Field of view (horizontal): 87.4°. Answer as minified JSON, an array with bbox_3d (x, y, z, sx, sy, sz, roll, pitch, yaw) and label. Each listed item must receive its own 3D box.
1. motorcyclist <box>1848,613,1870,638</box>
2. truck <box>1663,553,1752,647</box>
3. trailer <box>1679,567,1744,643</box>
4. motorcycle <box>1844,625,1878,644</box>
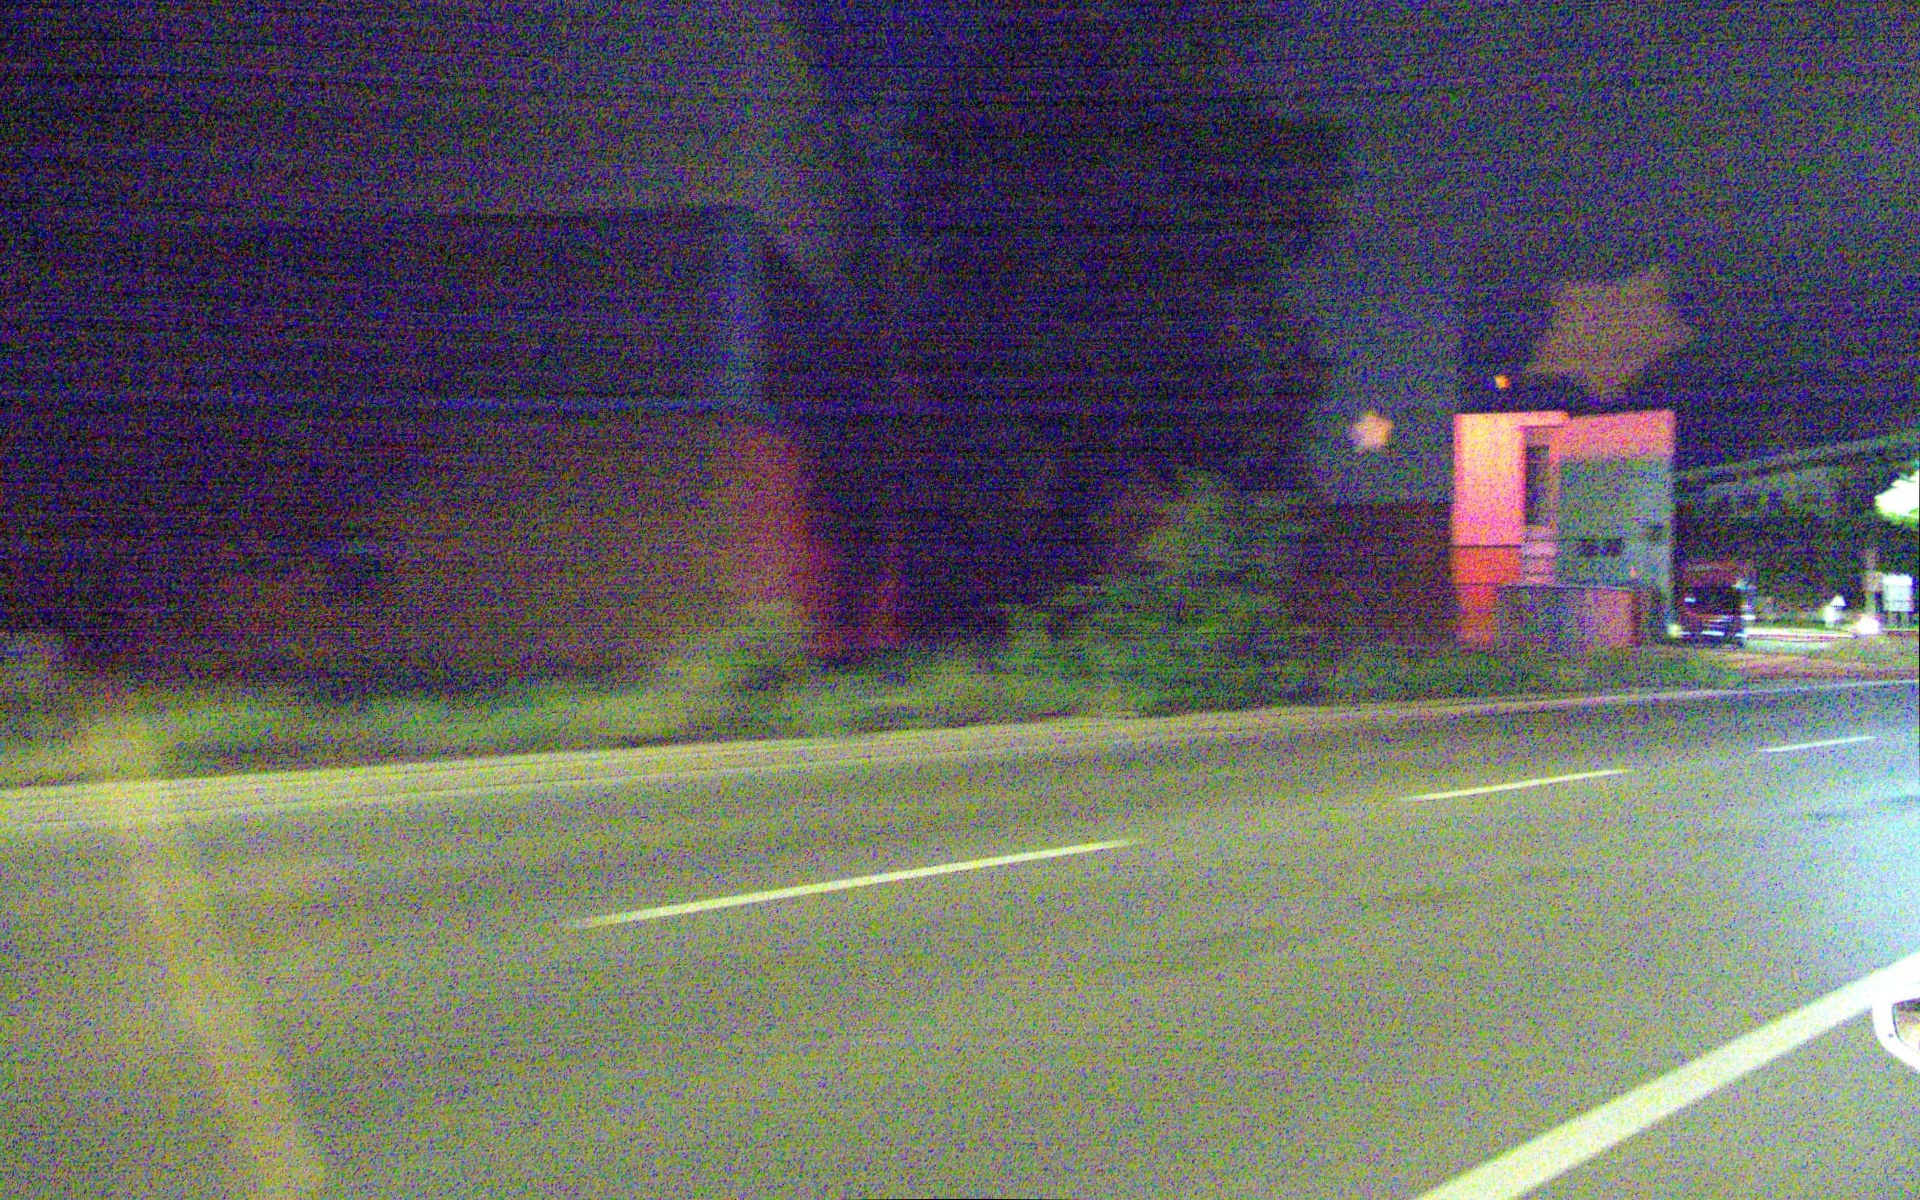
[{"bbox_3d":[46.077,1.308,51.501,0.636,1.278,0.579,1,0,22],"label":"motorcyclist"},{"bbox_3d":[34.172,0.056,45.832,2.901,3.847,9.519,2,0,38],"label":"truck"},{"bbox_3d":[40.442,0.265,54.169,2.579,3.841,6.491,2,0,36],"label":"trailer"},{"bbox_3d":[46.291,1.772,51.649,0.568,0.908,2.155,-1,-1,22],"label":"motorcycle"}]
